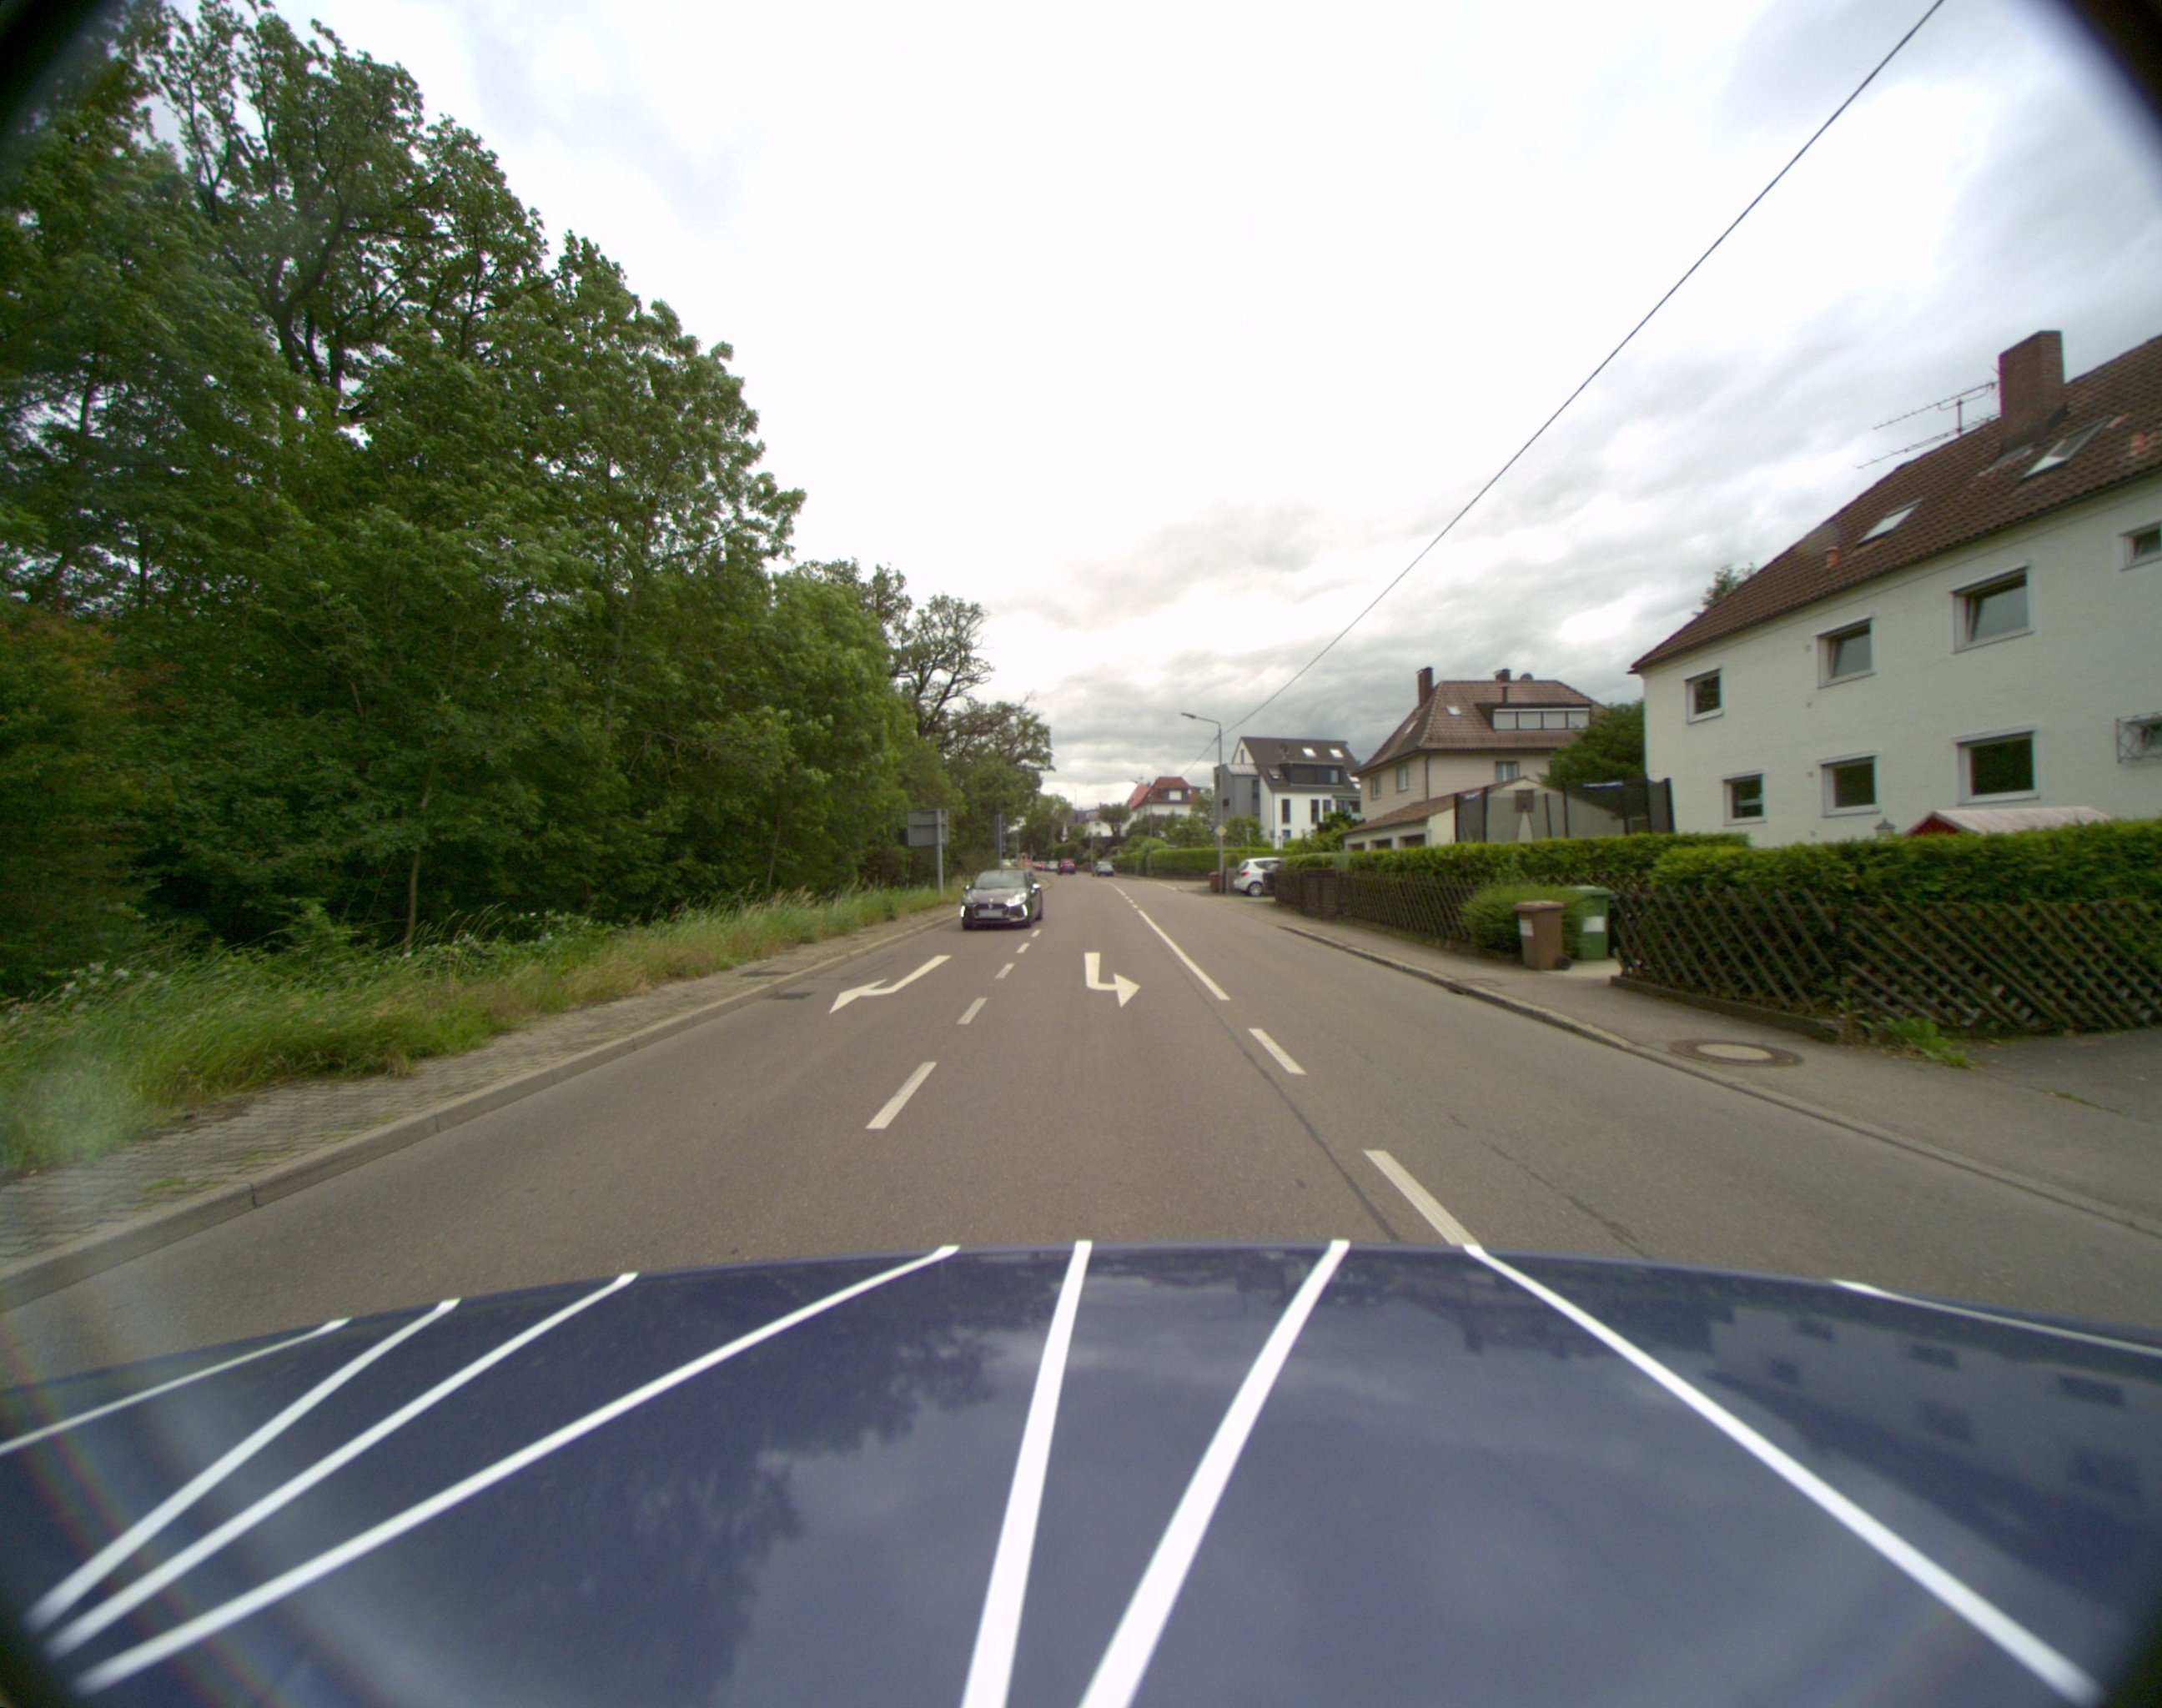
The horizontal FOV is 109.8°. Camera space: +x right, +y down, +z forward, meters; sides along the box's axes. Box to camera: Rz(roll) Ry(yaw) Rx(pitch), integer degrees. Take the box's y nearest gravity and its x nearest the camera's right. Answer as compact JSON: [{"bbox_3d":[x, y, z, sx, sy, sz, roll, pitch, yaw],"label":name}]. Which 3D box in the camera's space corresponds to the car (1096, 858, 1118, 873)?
[{"bbox_3d":[2.634,1.160,77.877,1.840,1.514,3.998,-1,0,-5],"label":"car"}]

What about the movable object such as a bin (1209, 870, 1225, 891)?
[{"bbox_3d":[6.338,1.224,35.336,0.689,0.948,0.572,-1,0,16],"label":"movable object such as a bin"}]

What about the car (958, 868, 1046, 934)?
[{"bbox_3d":[-1.953,1.140,19.883,1.730,1.449,3.855,-2,0,2],"label":"car"}]

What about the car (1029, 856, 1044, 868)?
[{"bbox_3d":[-6.831,1.181,115.813,2.000,1.749,3.998,-1,0,-6],"label":"car"}]

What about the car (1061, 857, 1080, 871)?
[{"bbox_3d":[-1.258,1.123,89.833,1.819,1.590,3.954,-1,0,-7],"label":"car"}]

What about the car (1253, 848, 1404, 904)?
[{"bbox_3d":[8.694,0.746,26.985,4.682,1.660,1.882,-3,0,0],"label":"car"}]

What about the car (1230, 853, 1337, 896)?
[{"bbox_3d":[8.510,0.836,32.191,3.997,1.584,1.718,-3,0,1],"label":"car"}]

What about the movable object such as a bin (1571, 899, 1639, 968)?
[{"bbox_3d":[7.547,1.132,10.958,0.634,0.947,0.512,0,0,4],"label":"movable object such as a bin"}]

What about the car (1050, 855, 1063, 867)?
[{"bbox_3d":[-3.760,1.050,115.122,1.832,1.665,3.998,-1,1,-4],"label":"car"}]

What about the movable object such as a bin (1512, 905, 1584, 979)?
[{"bbox_3d":[6.216,1.167,10.147,0.634,0.907,0.561,-2,0,11],"label":"movable object such as a bin"}]

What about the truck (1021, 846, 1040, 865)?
[{"bbox_3d":[-9.985,0.281,149.458,3.008,3.618,7.083,-1,0,-8],"label":"truck"}]

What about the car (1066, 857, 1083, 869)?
[{"bbox_3d":[-0.887,1.150,101.262,1.876,1.569,3.997,-1,0,-7],"label":"car"}]
